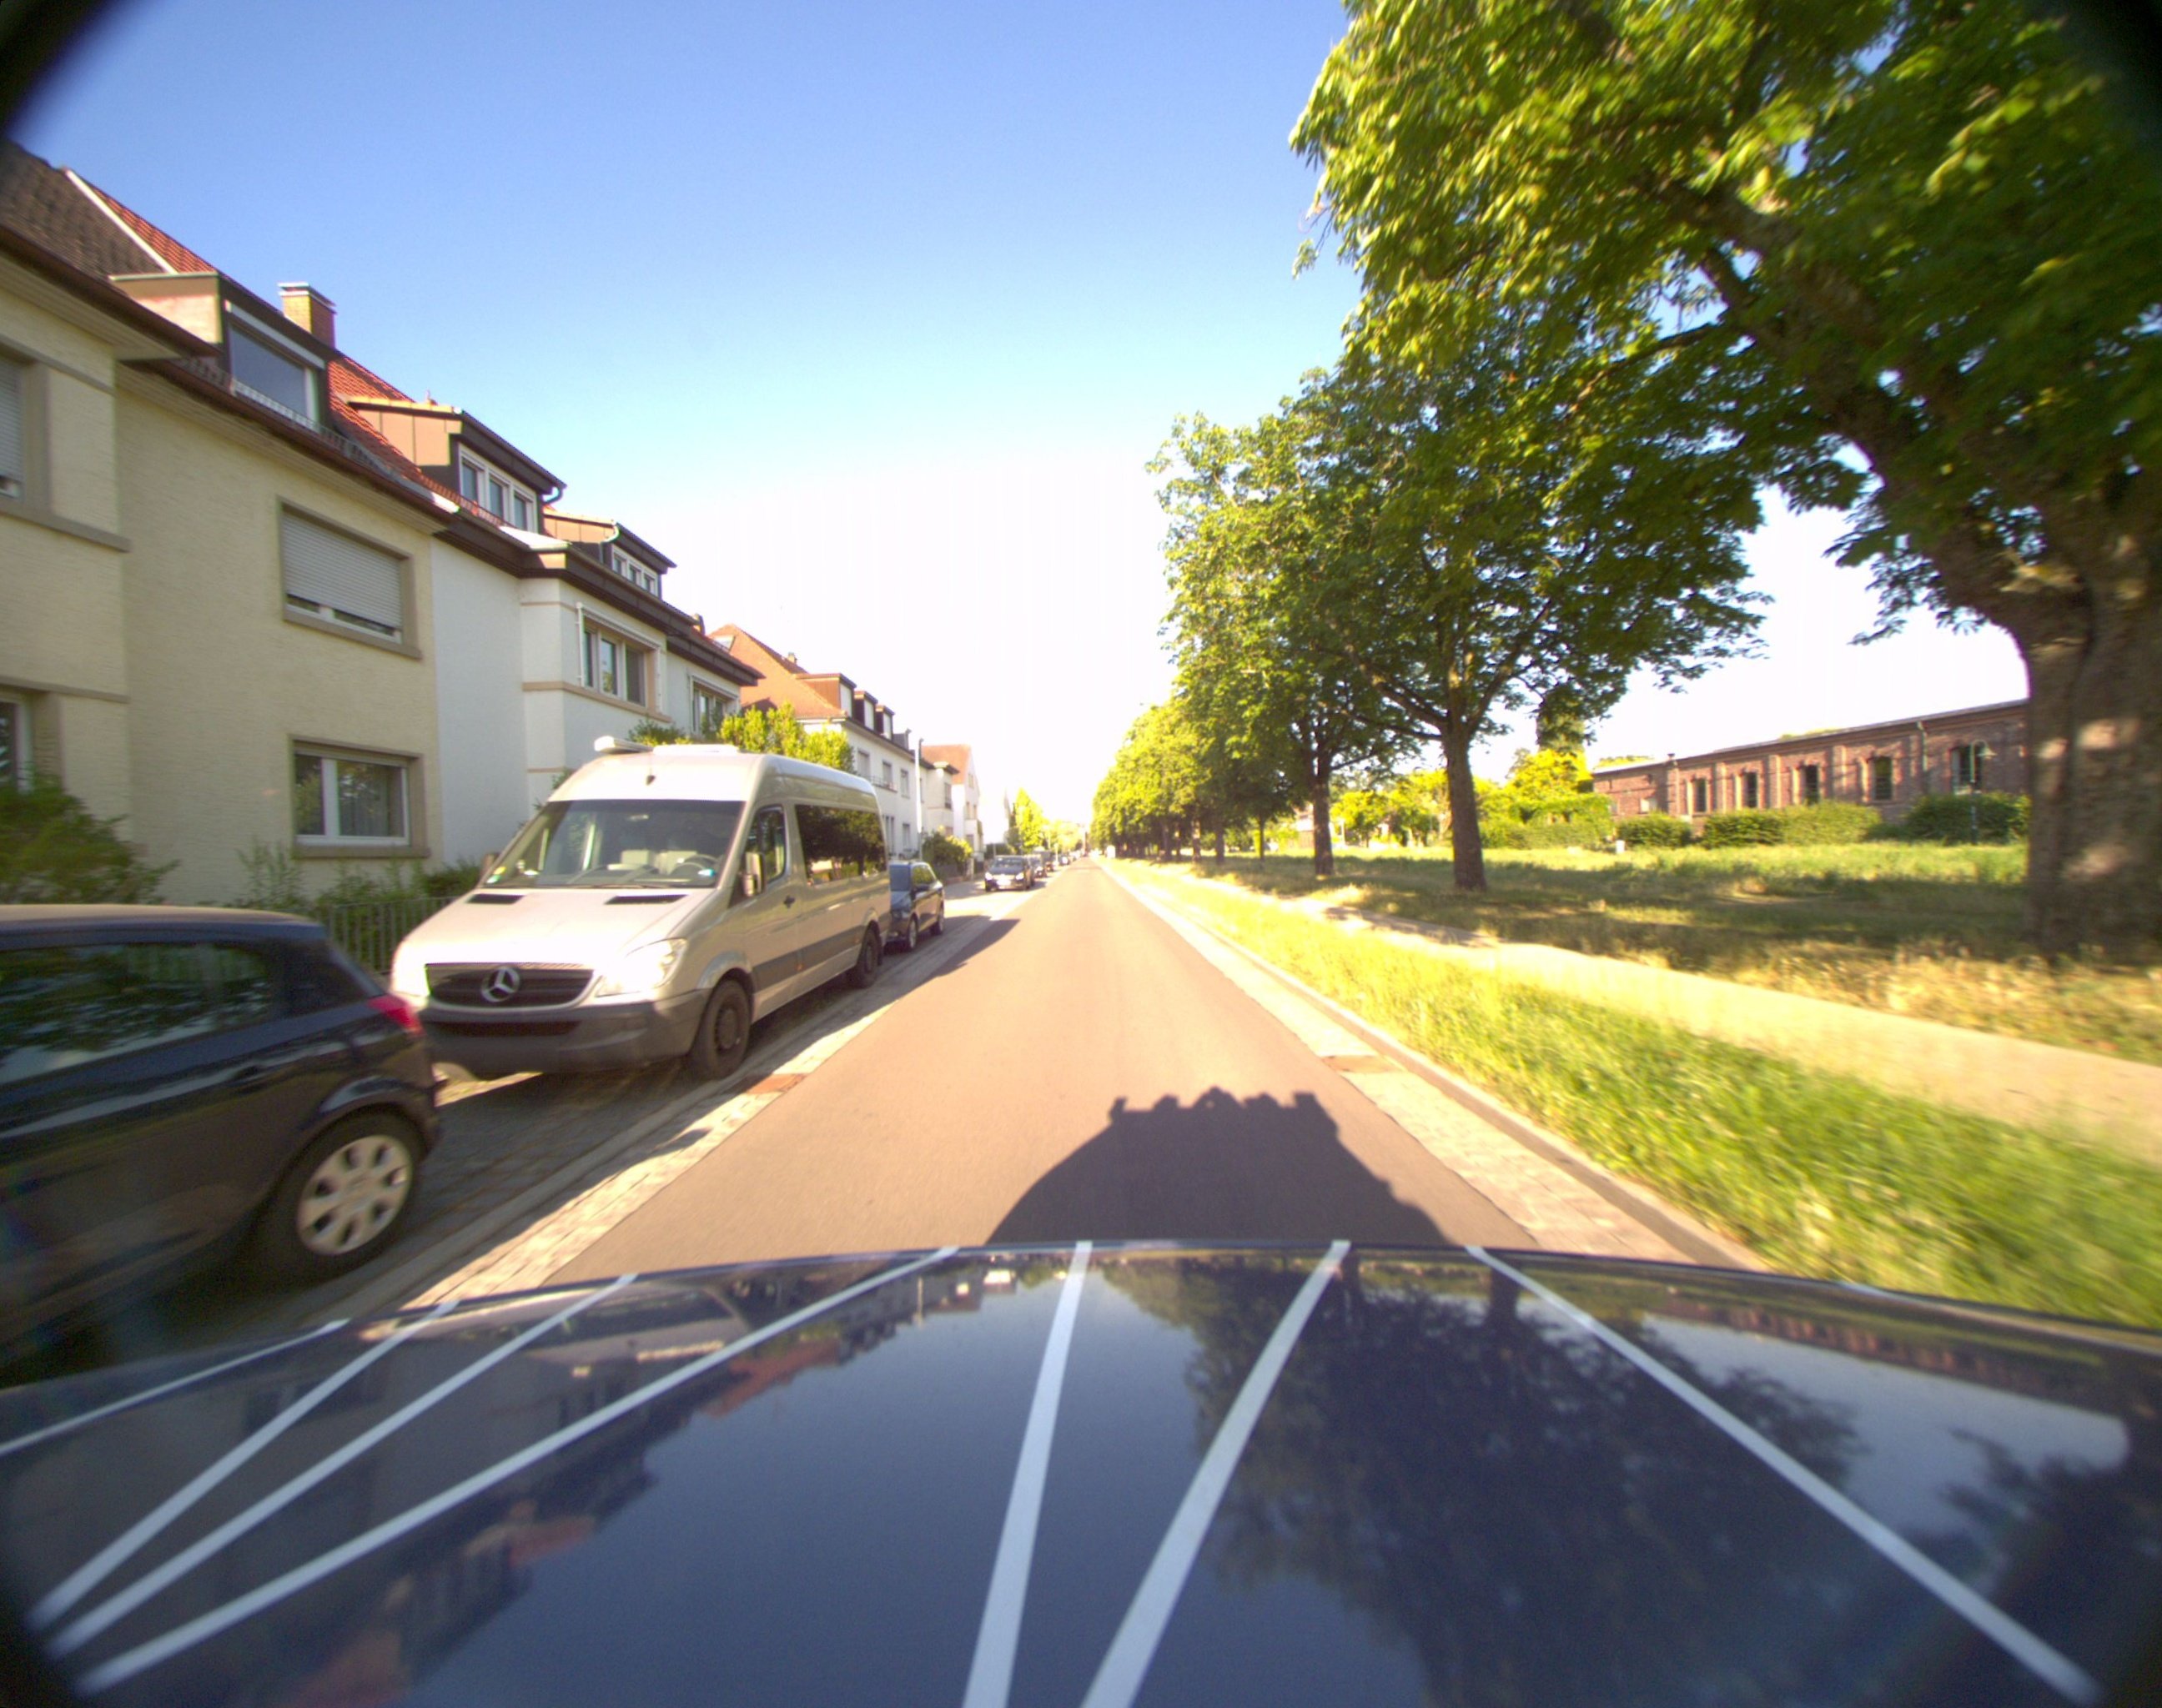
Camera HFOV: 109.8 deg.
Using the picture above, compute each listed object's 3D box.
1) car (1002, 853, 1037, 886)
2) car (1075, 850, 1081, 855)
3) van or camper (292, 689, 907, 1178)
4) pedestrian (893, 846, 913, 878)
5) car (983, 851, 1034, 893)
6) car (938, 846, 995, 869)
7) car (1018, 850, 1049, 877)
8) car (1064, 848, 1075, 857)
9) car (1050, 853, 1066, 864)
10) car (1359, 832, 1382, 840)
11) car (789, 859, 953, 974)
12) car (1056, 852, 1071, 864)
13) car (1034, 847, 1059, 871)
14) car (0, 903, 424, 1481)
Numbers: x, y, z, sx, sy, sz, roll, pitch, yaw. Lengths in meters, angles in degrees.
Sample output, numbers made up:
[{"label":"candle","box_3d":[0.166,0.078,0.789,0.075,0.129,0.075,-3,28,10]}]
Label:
[{"label":"car","box_3d":[-3.239,0.776,40.445,1.722,1.565,4.208,0,1,-3]},{"label":"car","box_3d":[-0.945,-0.541,251.557,1.844,1.471,3.763,-3,0,0]},{"label":"van or camper","box_3d":[-3.481,0.414,7.405,1.948,2.762,5.938,-3,1,1]},{"label":"pedestrian","box_3d":[-8.863,0.391,37.839,0.595,1.569,0.631,-3,2,27]},{"label":"car","box_3d":[-3.208,0.754,34.447,1.837,1.675,4.414,1,1,0]},{"label":"car","box_3d":[-8.894,0.265,59.404,4.229,1.716,1.852,-1,1,-3]},{"label":"car","box_3d":[-3.220,0.586,51.969,1.798,1.761,4.472,0,0,0]},{"label":"car","box_3d":[-2.281,-0.219,147.187,1.910,1.698,4.575,0,0,2]},{"label":"car","box_3d":[-2.950,0.596,98.484,1.798,1.474,4.124,0,0,1]},{"label":"car","box_3d":[55.770,-3.477,146.361,3.636,1.273,1.586,-3,1,2]},{"label":"car","box_3d":[-3.554,0.974,13.637,1.668,1.584,4.085,-3,1,1]},{"label":"car","box_3d":[-2.591,0.548,112.473,1.910,1.698,4.575,0,0,2]},{"label":"car","box_3d":[-3.061,0.407,68.938,1.910,2.119,4.814,0,0,1]},{"label":"car","box_3d":[-3.698,0.972,1.322,1.625,1.403,3.968,1,1,1]}]
